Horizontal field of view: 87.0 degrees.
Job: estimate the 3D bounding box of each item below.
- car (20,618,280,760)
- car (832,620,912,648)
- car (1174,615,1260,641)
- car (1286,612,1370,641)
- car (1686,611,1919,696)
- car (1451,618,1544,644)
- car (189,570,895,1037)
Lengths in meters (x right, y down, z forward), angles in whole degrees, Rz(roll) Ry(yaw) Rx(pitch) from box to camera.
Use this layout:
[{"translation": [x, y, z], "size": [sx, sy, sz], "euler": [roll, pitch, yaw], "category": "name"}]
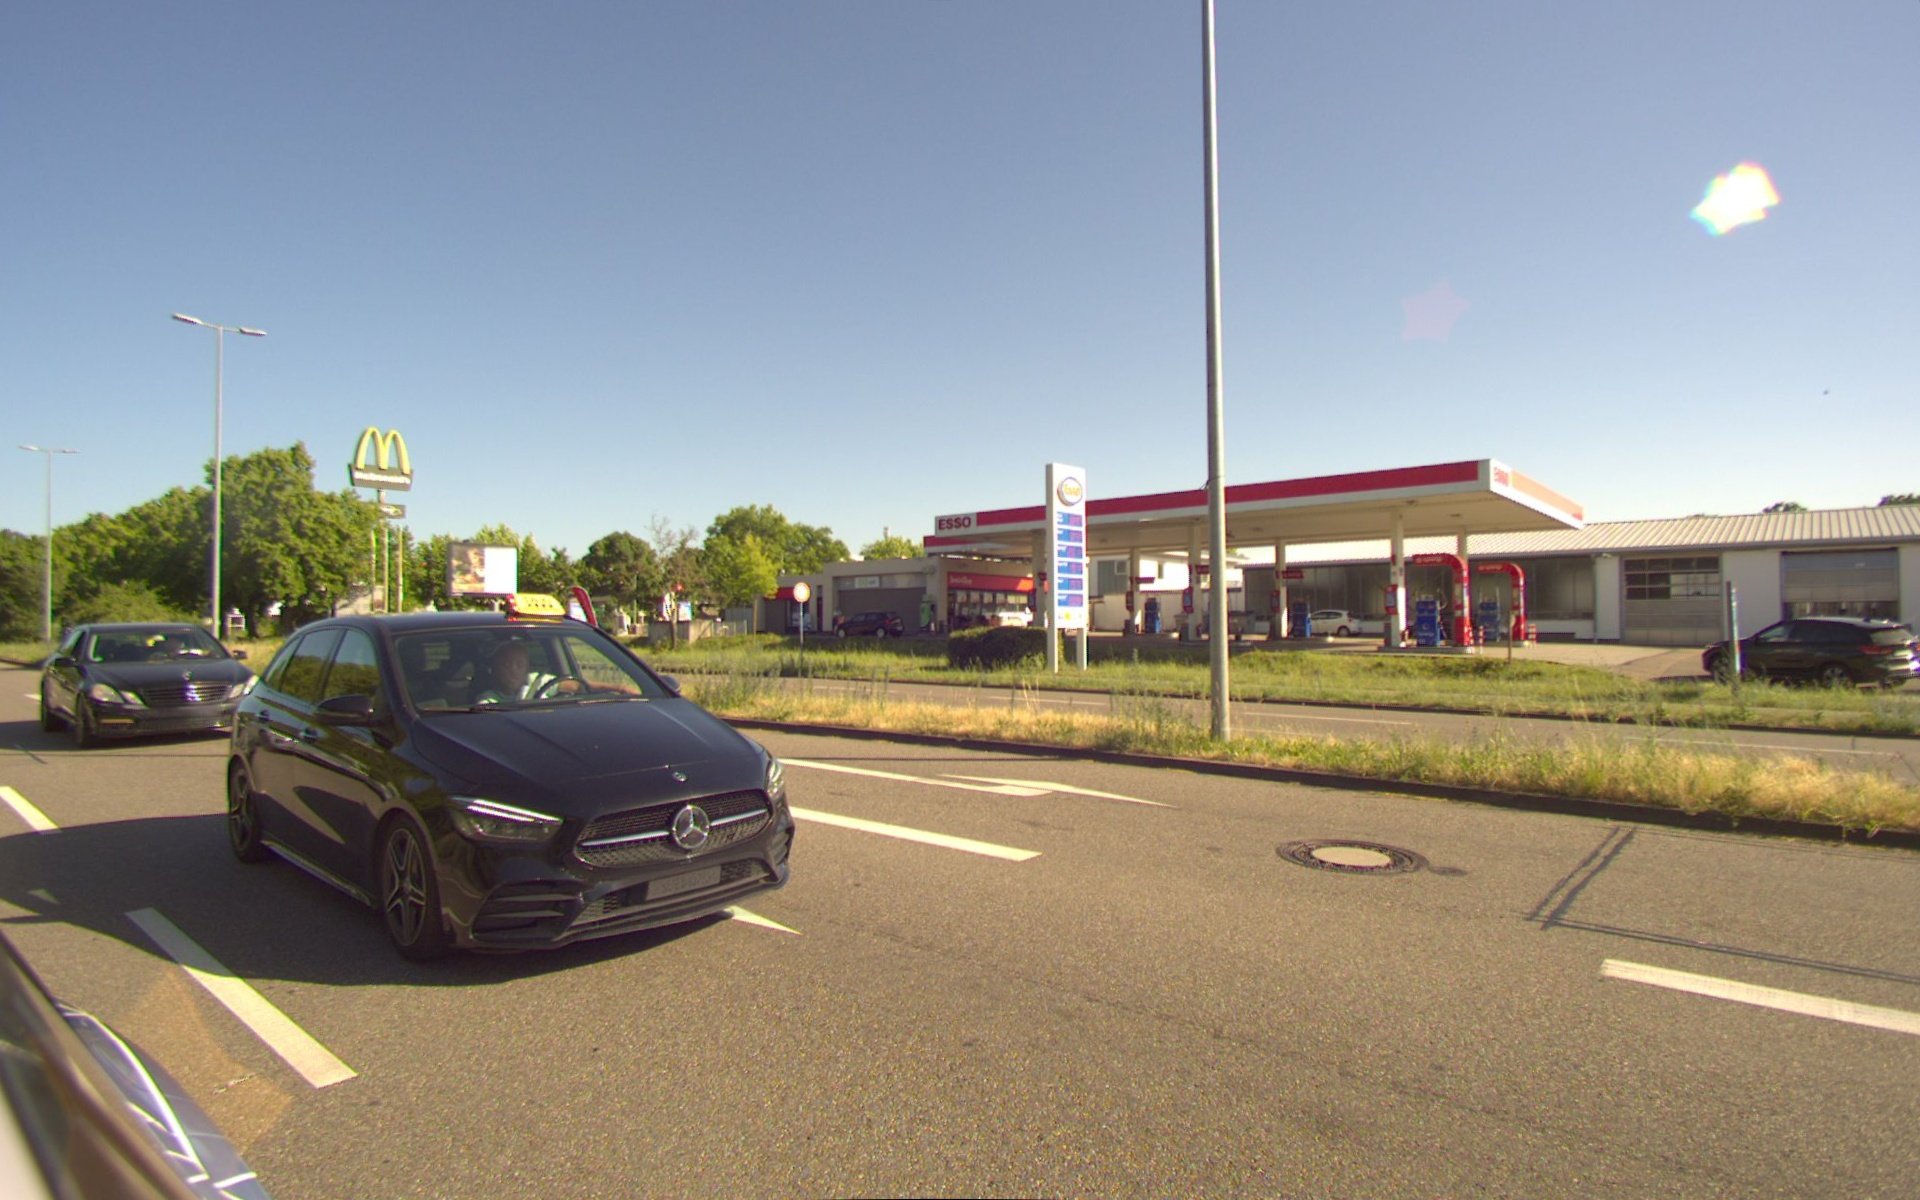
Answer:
[{"translation": [-10.812, 1.019, 13.392], "size": [4.461, 1.521, 1.928], "euler": [-1, 0, 41], "category": "car"}, {"translation": [-4.637, 1.754, 53.013], "size": [3.998, 1.416, 1.973], "euler": [-2, -2, 41], "category": "car"}, {"translation": [15.137, 1.621, 59.797], "size": [4.540, 1.477, 1.973], "euler": [-1, 0, 41], "category": "car"}, {"translation": [19.978, 1.395, 54.944], "size": [3.855, 1.500, 1.973], "euler": [-1, 0, 41], "category": "car"}, {"translation": [19.811, 1.150, 23.749], "size": [1.778, 1.739, 4.334], "euler": [-1, 0, -15], "category": "car"}, {"translation": [26.218, 1.477, 49.442], "size": [3.729, 1.196, 1.658], "euler": [-1, 0, 41], "category": "car"}, {"translation": [-2.629, 0.754, 5.673], "size": [4.579, 1.614, 1.765], "euler": [-2, -1, 40], "category": "car"}]
